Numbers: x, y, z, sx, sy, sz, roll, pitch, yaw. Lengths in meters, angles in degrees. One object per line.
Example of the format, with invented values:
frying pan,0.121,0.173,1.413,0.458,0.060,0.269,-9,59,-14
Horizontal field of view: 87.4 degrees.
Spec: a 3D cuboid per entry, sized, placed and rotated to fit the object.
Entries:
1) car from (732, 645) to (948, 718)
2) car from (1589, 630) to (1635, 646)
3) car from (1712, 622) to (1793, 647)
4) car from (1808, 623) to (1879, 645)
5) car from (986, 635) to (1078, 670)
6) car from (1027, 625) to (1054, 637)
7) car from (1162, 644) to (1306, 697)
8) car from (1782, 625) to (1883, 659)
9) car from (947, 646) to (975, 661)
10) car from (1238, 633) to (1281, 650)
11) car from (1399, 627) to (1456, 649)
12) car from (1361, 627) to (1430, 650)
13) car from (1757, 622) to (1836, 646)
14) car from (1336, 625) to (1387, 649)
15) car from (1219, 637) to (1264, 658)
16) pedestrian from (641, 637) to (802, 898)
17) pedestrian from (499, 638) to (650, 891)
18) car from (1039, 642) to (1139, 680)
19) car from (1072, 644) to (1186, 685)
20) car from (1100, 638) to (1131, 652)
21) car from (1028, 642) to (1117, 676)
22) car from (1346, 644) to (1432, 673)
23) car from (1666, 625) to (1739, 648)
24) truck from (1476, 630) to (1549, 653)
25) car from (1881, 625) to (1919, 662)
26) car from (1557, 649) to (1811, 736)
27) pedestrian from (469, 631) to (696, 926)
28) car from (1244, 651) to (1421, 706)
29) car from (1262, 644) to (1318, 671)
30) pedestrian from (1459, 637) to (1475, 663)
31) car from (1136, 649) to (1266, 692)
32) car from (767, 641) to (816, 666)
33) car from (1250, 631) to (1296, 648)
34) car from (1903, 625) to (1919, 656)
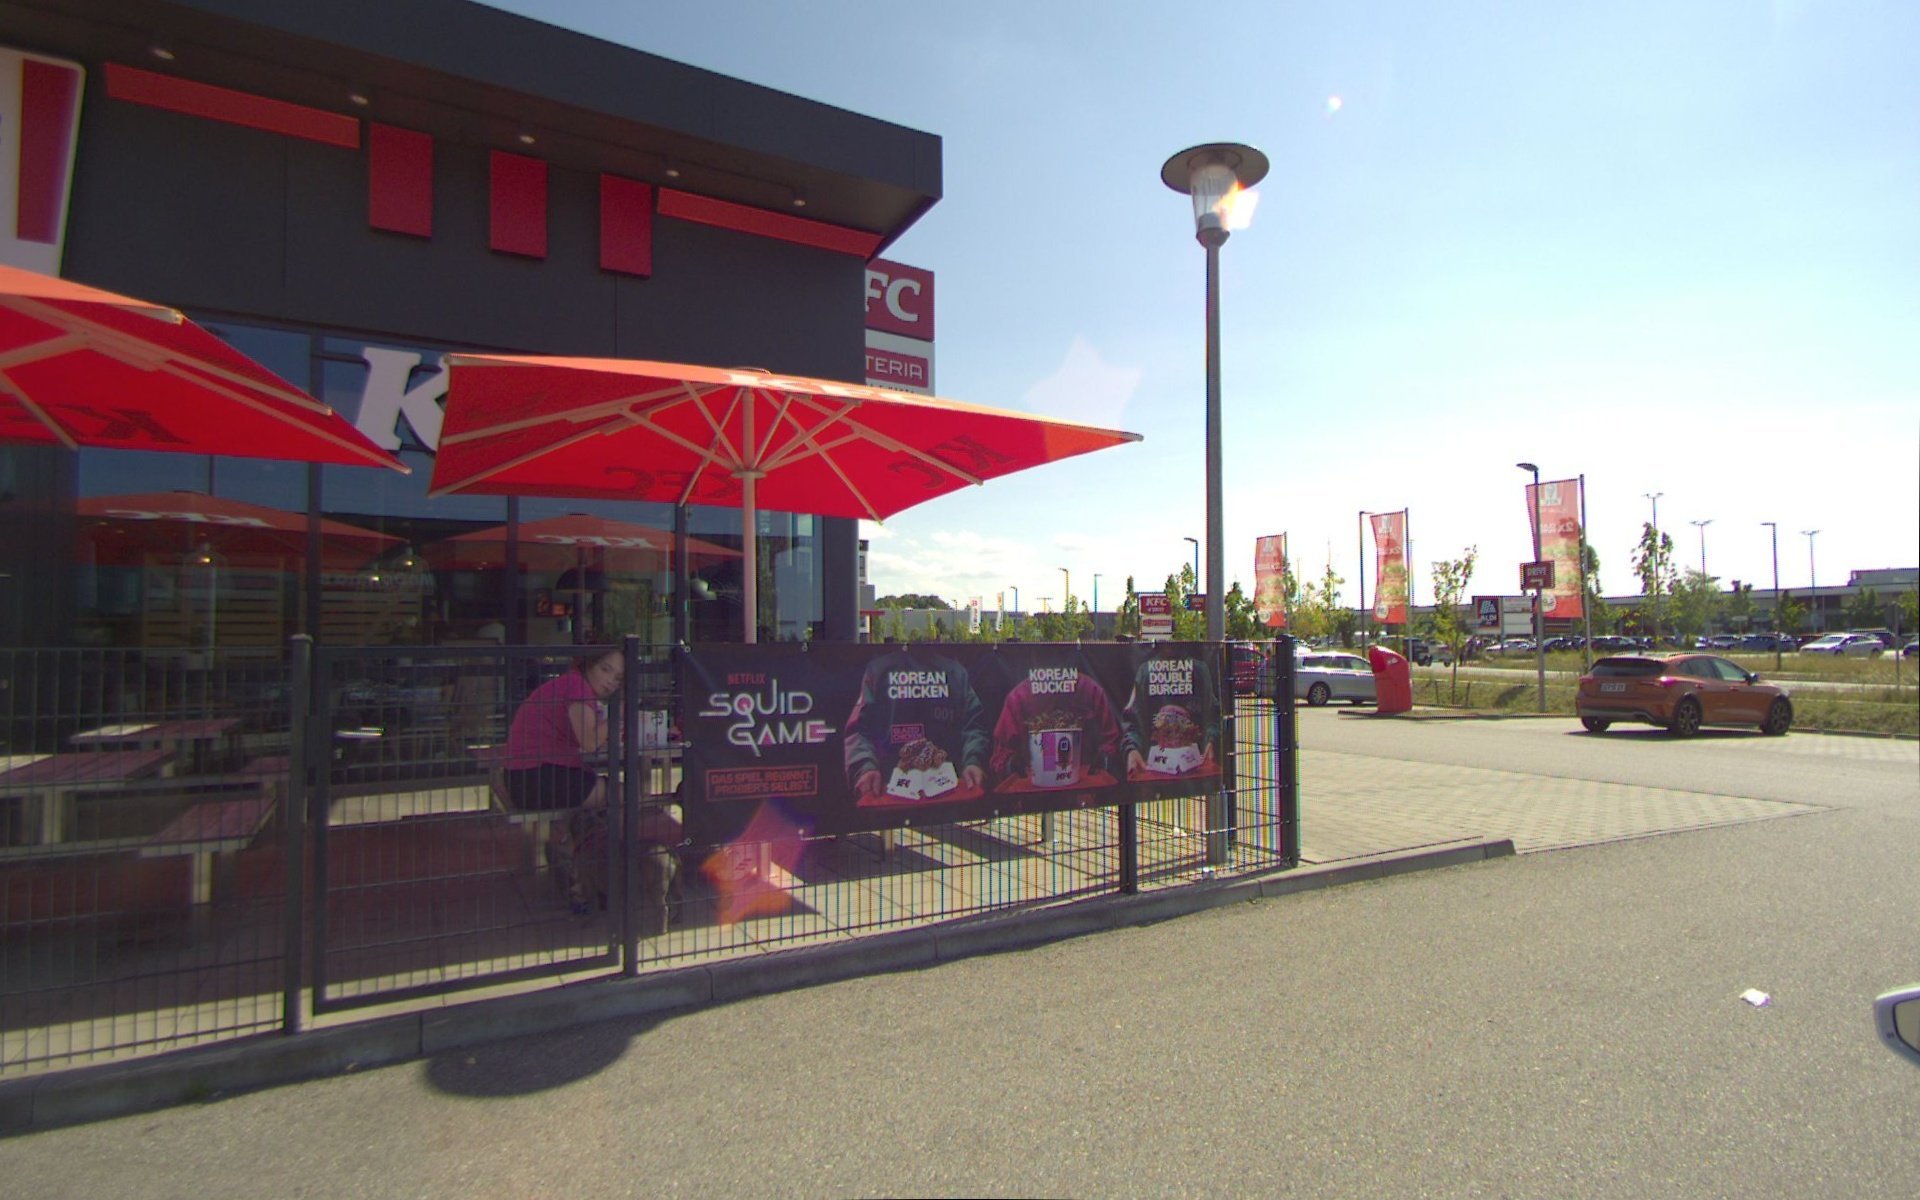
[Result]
car,-2.555,1.713,21.793,4.353,1.431,1.725,2,-3,-32
car,64.626,3.740,99.535,1.650,1.572,3.443,1,-2,-34
car,61.166,2.653,77.572,1.932,1.880,4.538,1,-2,-29
car,78.164,3.006,88.915,1.932,1.880,4.371,1,-2,-29
car,3.764,2.761,52.946,4.510,1.783,1.892,1,-3,-12
car,11.657,4.513,145.753,3.622,1.619,1.702,1,-2,-29
car,8.884,2.274,32.670,4.164,1.659,1.944,1,-3,-17
car,49.679,2.388,57.224,4.206,1.880,1.998,0,-2,-6
car,0.094,5.053,94.757,1.676,1.424,3.885,1,-3,-15
car,36.992,5.065,124.021,4.999,2.040,1.991,1,-2,-20
car,45.256,3.650,97.311,5.100,2.040,1.991,1,-2,-20
car,44.553,3.940,102.822,6.209,2.267,2.807,0,-2,-17
car,67.982,2.780,81.697,1.932,1.880,4.538,1,-2,-29
car,42.784,3.902,106.930,4.999,2.487,1.991,1,-2,-20
car,23.478,3.968,83.995,1.844,1.686,4.597,0,-2,-9
pedestrian,-1.284,0.844,5.423,0.605,1.290,0.620,-2,-2,44
pedestrian,-2.151,0.861,5.599,0.676,1.290,0.548,-2,-2,44
car,6.055,2.880,47.259,4.263,1.725,1.889,1,-3,-17
car,7.137,2.712,42.601,4.371,1.659,1.893,1,-3,-10
car,17.210,4.986,111.276,1.964,1.524,4.649,0,-2,-11
car,5.618,2.954,50.334,4.013,1.630,1.890,1,-2,-15
car,27.985,3.796,65.670,1.962,1.754,5.191,1,-2,-25
car,66.562,3.260,90.152,2.060,2.040,4.887,1,-2,-33
truck,46.706,3.474,84.928,5.335,1.888,1.997,0,-2,-10
car,50.751,2.237,52.154,4.322,1.880,1.954,0,-2,-6
car,13.483,1.679,18.719,4.289,1.488,1.824,2,-3,-22
pedestrian,-1.850,0.797,4.951,0.676,1.290,0.836,-2,-2,44
car,10.393,2.177,28.057,4.528,1.431,1.734,1,-3,-18
car,24.275,4.208,74.053,1.965,1.870,4.397,0,-2,-13
pedestrian,31.823,3.126,63.042,0.614,1.576,0.667,0,-2,-4
car,8.404,2.459,35.089,4.142,1.428,1.766,1,-3,-20
car,-13.921,4.375,82.826,2.058,1.905,4.829,1,-2,-36
car,37.046,4.654,118.783,4.999,2.040,1.991,1,-2,-20
car,61.250,2.495,61.759,1.932,1.880,4.371,1,-2,-29
